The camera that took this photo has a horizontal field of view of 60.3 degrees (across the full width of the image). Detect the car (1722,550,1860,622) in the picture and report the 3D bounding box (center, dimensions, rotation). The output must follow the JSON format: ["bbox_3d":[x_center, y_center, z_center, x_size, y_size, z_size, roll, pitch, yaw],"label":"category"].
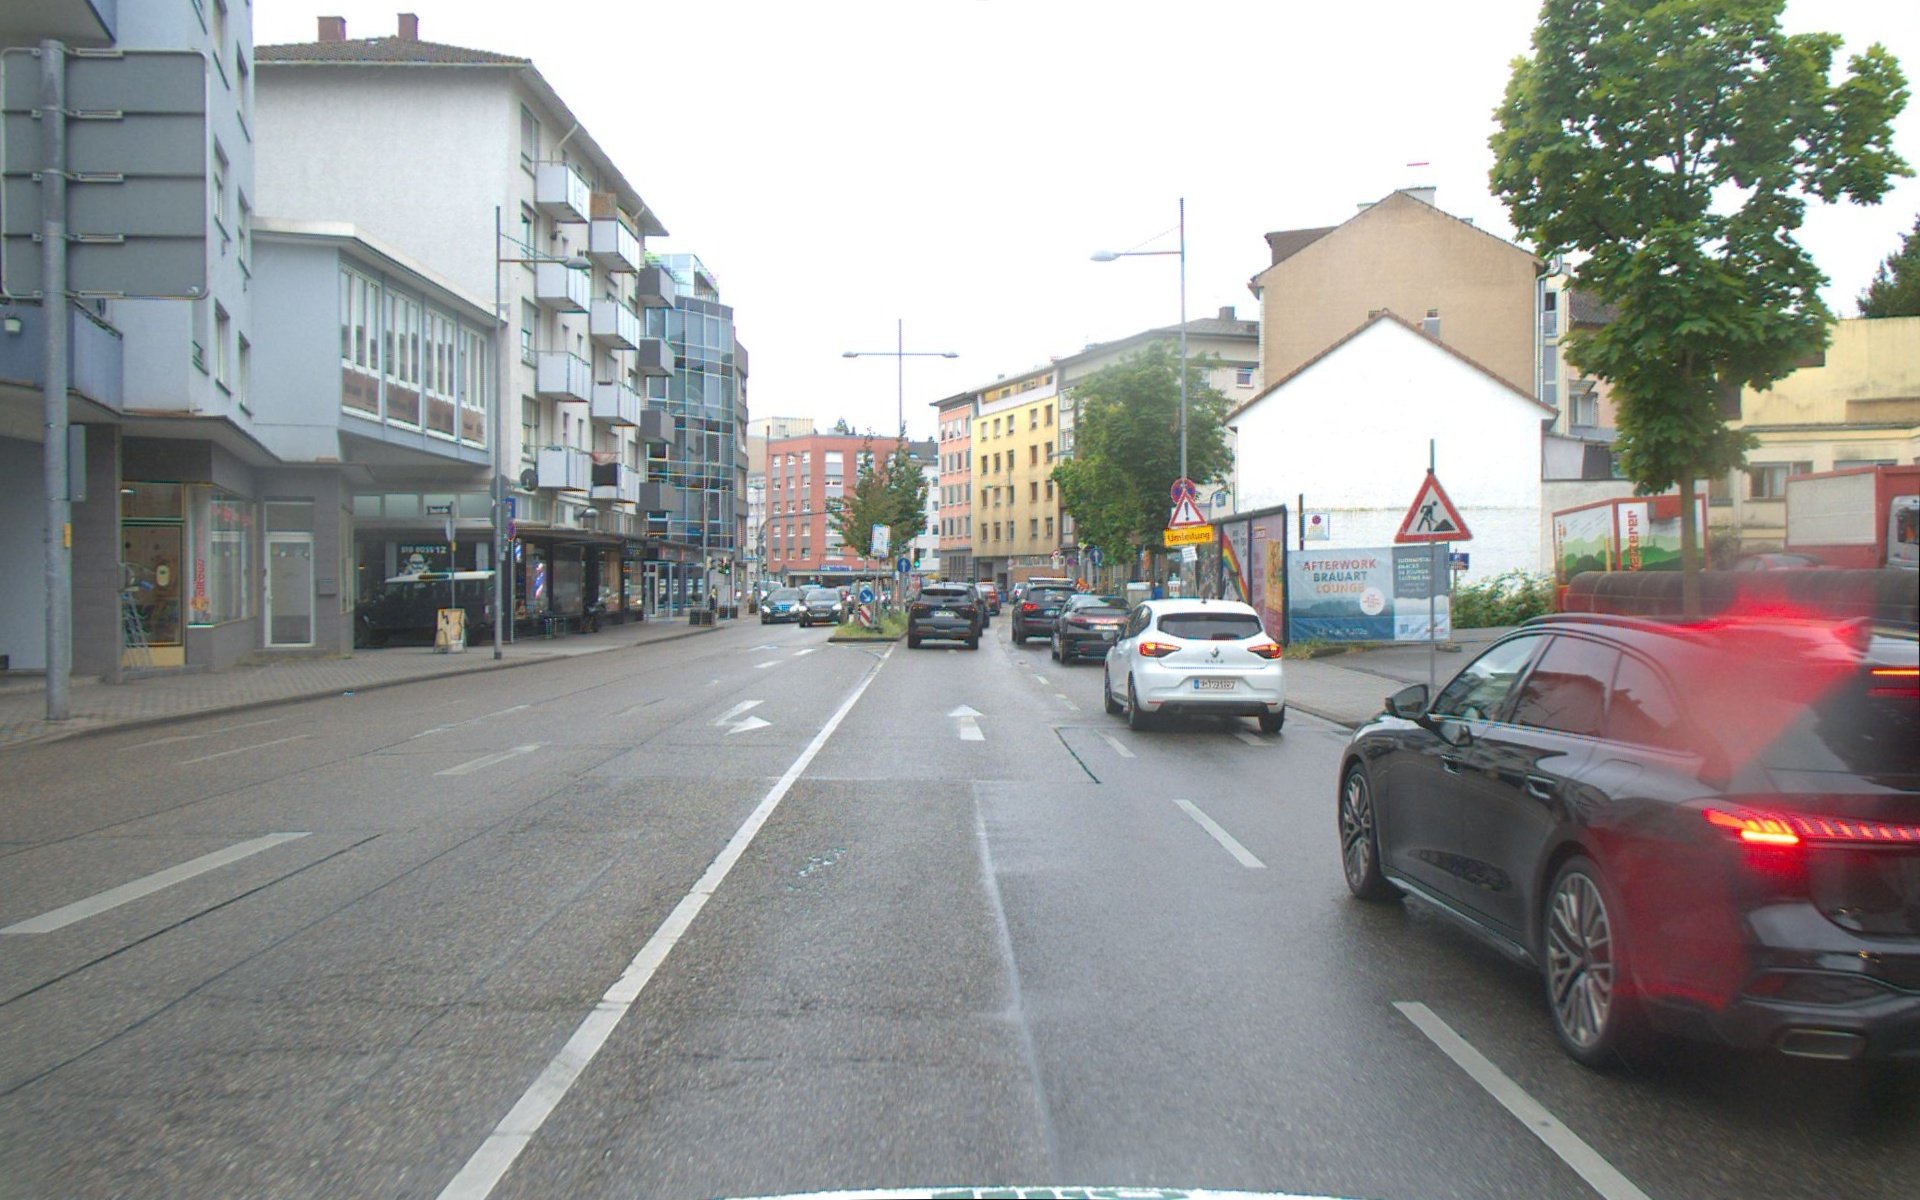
[{"bbox_3d":[18.344,-0.300,36.652,1.556,1.482,3.266,-2,0,4],"label":"car"}]

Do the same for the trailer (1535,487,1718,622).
[{"bbox_3d":[15.165,-1.018,37.991,2.083,2.763,5.393,-3,1,2],"label":"trailer"}]

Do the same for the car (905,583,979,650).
[{"bbox_3d":[-0.429,0.394,42.669,1.786,1.628,3.719,1,0,0],"label":"car"}]

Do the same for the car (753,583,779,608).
[{"bbox_3d":[-13.094,-0.287,111.640,1.521,1.598,3.341,2,0,-9],"label":"car"}]

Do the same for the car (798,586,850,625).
[{"bbox_3d":[-5.454,0.195,66.617,1.685,1.448,4.165,-3,0,0],"label":"car"}]

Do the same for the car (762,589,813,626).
[{"bbox_3d":[-7.677,0.311,73.895,1.673,1.493,4.829,-3,0,0],"label":"car"}]

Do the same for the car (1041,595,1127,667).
[{"bbox_3d":[2.638,0.622,35.633,1.749,1.424,3.720,1,0,3],"label":"car"}]

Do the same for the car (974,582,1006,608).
[{"bbox_3d":[1.661,-0.300,93.013,1.608,1.405,3.347,-2,0,-2],"label":"car"}]

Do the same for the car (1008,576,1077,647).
[{"bbox_3d":[2.282,0.293,46.437,1.792,1.837,3.720,1,1,1],"label":"car"}]

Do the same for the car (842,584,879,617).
[{"bbox_3d":[-5.313,0.021,88.577,1.649,1.690,4.096,-2,0,0],"label":"car"}]

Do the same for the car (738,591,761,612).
[{"bbox_3d":[-15.734,0.077,123.413,1.429,1.455,3.361,2,1,-11],"label":"car"}]

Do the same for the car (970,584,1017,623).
[{"bbox_3d":[1.273,0.128,63.329,1.608,1.405,3.347,-2,0,-2],"label":"car"}]

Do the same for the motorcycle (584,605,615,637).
[{"bbox_3d":[-12.203,0.695,56.058,0.515,1.013,2.137,2,0,1],"label":"motorcycle"}]

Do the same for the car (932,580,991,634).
[{"bbox_3d":[0.067,0.201,52.707,1.786,1.628,3.719,1,0,0],"label":"car"}]

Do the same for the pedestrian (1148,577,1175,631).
[{"bbox_3d":[6.880,0.126,56.477,0.774,1.786,0.872,-2,0,13],"label":"pedestrian"}]

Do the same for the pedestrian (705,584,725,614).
[{"bbox_3d":[-13.215,-0.059,89.157,0.775,1.618,0.753,-2,0,-37],"label":"pedestrian"}]

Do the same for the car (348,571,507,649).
[{"bbox_3d":[-14.783,0.268,46.015,3.882,2.070,1.580,-1,0,-1],"label":"car"}]

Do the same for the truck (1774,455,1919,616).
[{"bbox_3d":[20.999,-1.381,36.874,2.576,3.272,6.933,-2,0,4],"label":"truck"}]

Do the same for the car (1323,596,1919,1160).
[{"bbox_3d":[2.904,0.726,6.697,1.753,1.427,4.632,-1,0,-1],"label":"car"}]

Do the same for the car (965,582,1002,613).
[{"bbox_3d":[1.122,-0.133,79.233,1.608,1.405,3.347,-2,0,-2],"label":"car"}]

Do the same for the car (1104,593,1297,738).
[{"bbox_3d":[2.708,0.686,19.380,1.631,1.420,3.867,1,1,-1],"label":"car"}]
